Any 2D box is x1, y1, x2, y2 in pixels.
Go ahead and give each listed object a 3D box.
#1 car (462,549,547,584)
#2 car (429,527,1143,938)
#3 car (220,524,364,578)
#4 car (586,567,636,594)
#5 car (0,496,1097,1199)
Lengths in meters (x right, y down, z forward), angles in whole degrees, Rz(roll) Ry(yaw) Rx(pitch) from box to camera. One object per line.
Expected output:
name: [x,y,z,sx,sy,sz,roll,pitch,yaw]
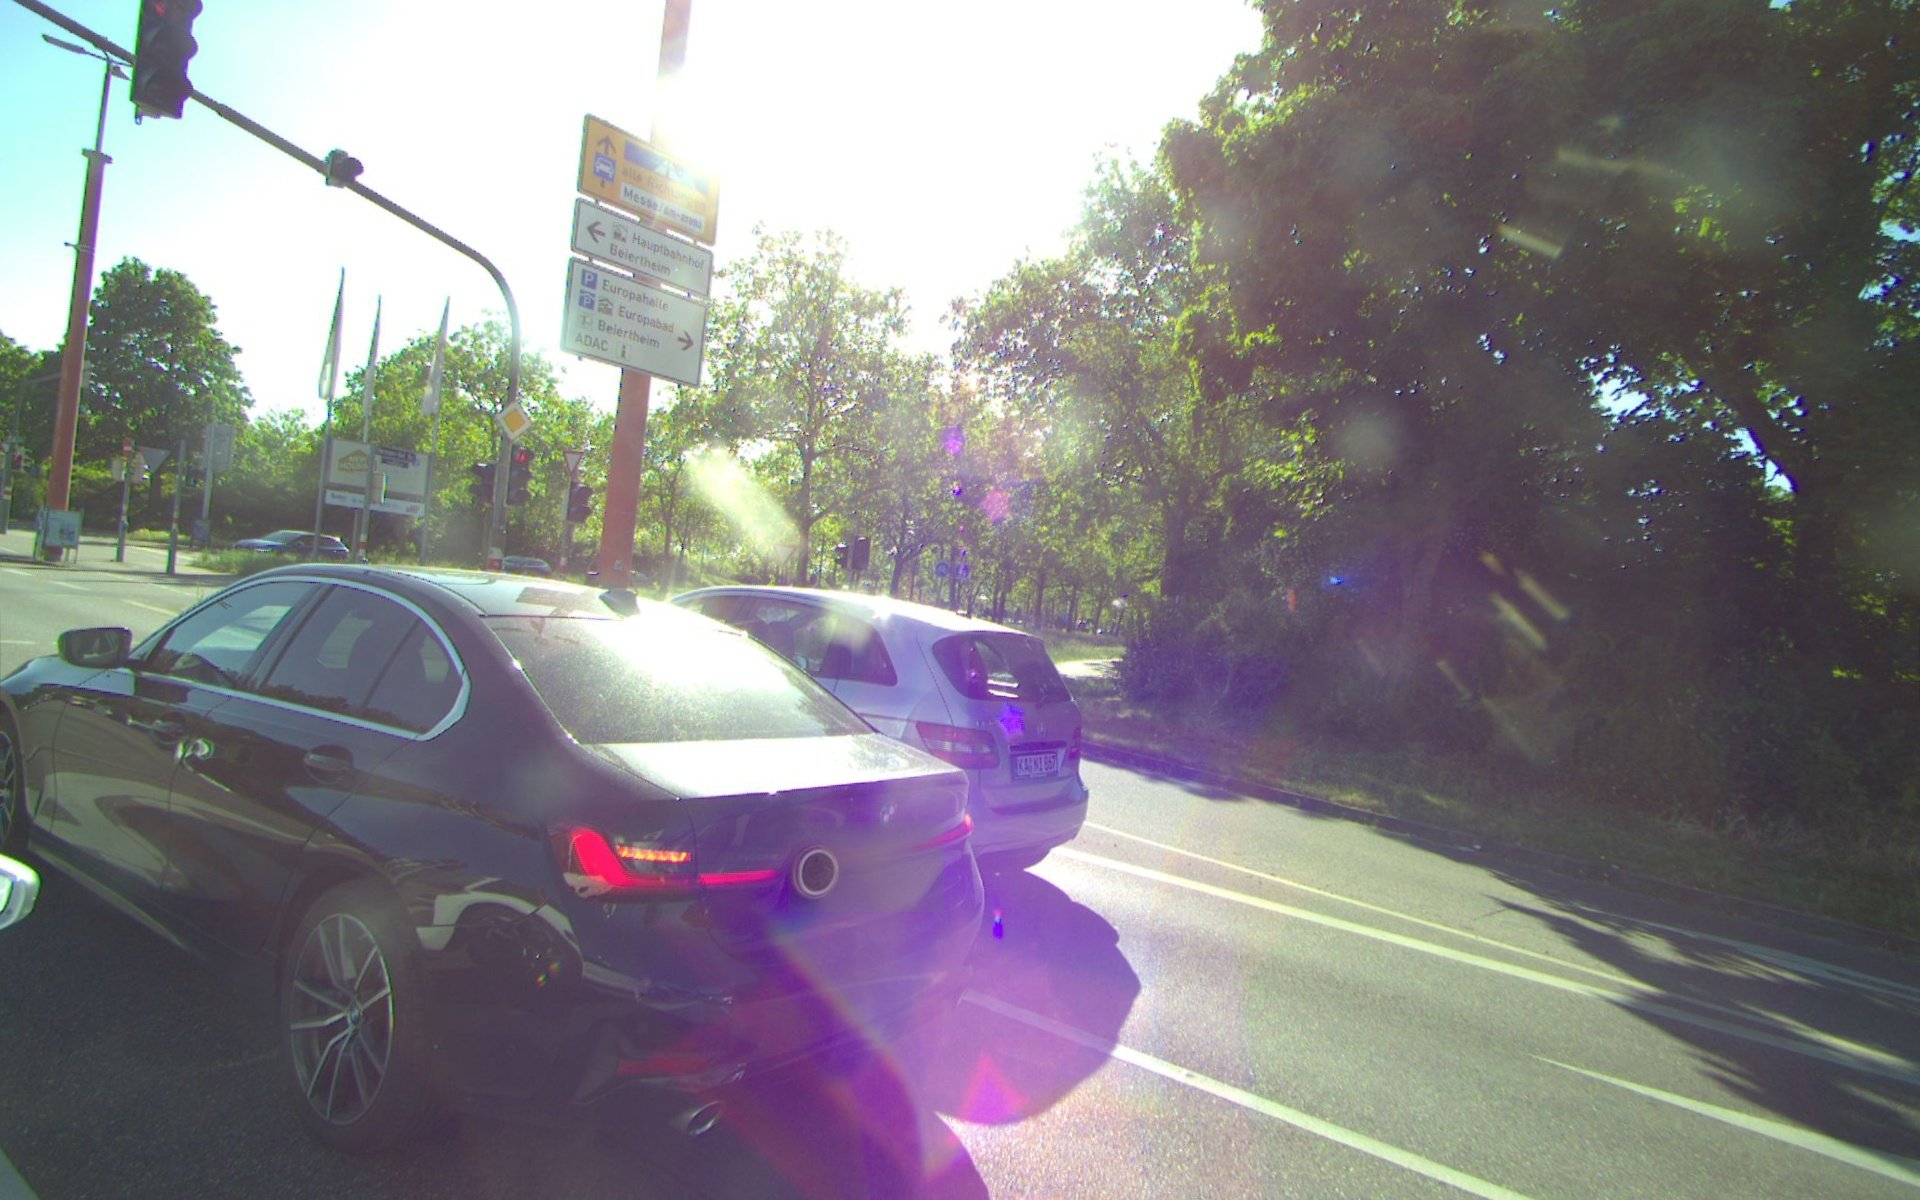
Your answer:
car: [-28.165,-2.058,62.306,2.125,1.592,4.584,7,-1,18]
car: [-1.285,0.638,6.790,4.403,1.706,1.970,7,-1,32]
car: [-25.091,-1.812,37.984,1.848,1.445,4.283,7,-1,14]
car: [-25.519,-1.430,73.732,2.126,1.592,4.280,7,-1,-2]
car: [-1.963,0.527,3.883,4.403,1.411,1.996,7,0,32]
